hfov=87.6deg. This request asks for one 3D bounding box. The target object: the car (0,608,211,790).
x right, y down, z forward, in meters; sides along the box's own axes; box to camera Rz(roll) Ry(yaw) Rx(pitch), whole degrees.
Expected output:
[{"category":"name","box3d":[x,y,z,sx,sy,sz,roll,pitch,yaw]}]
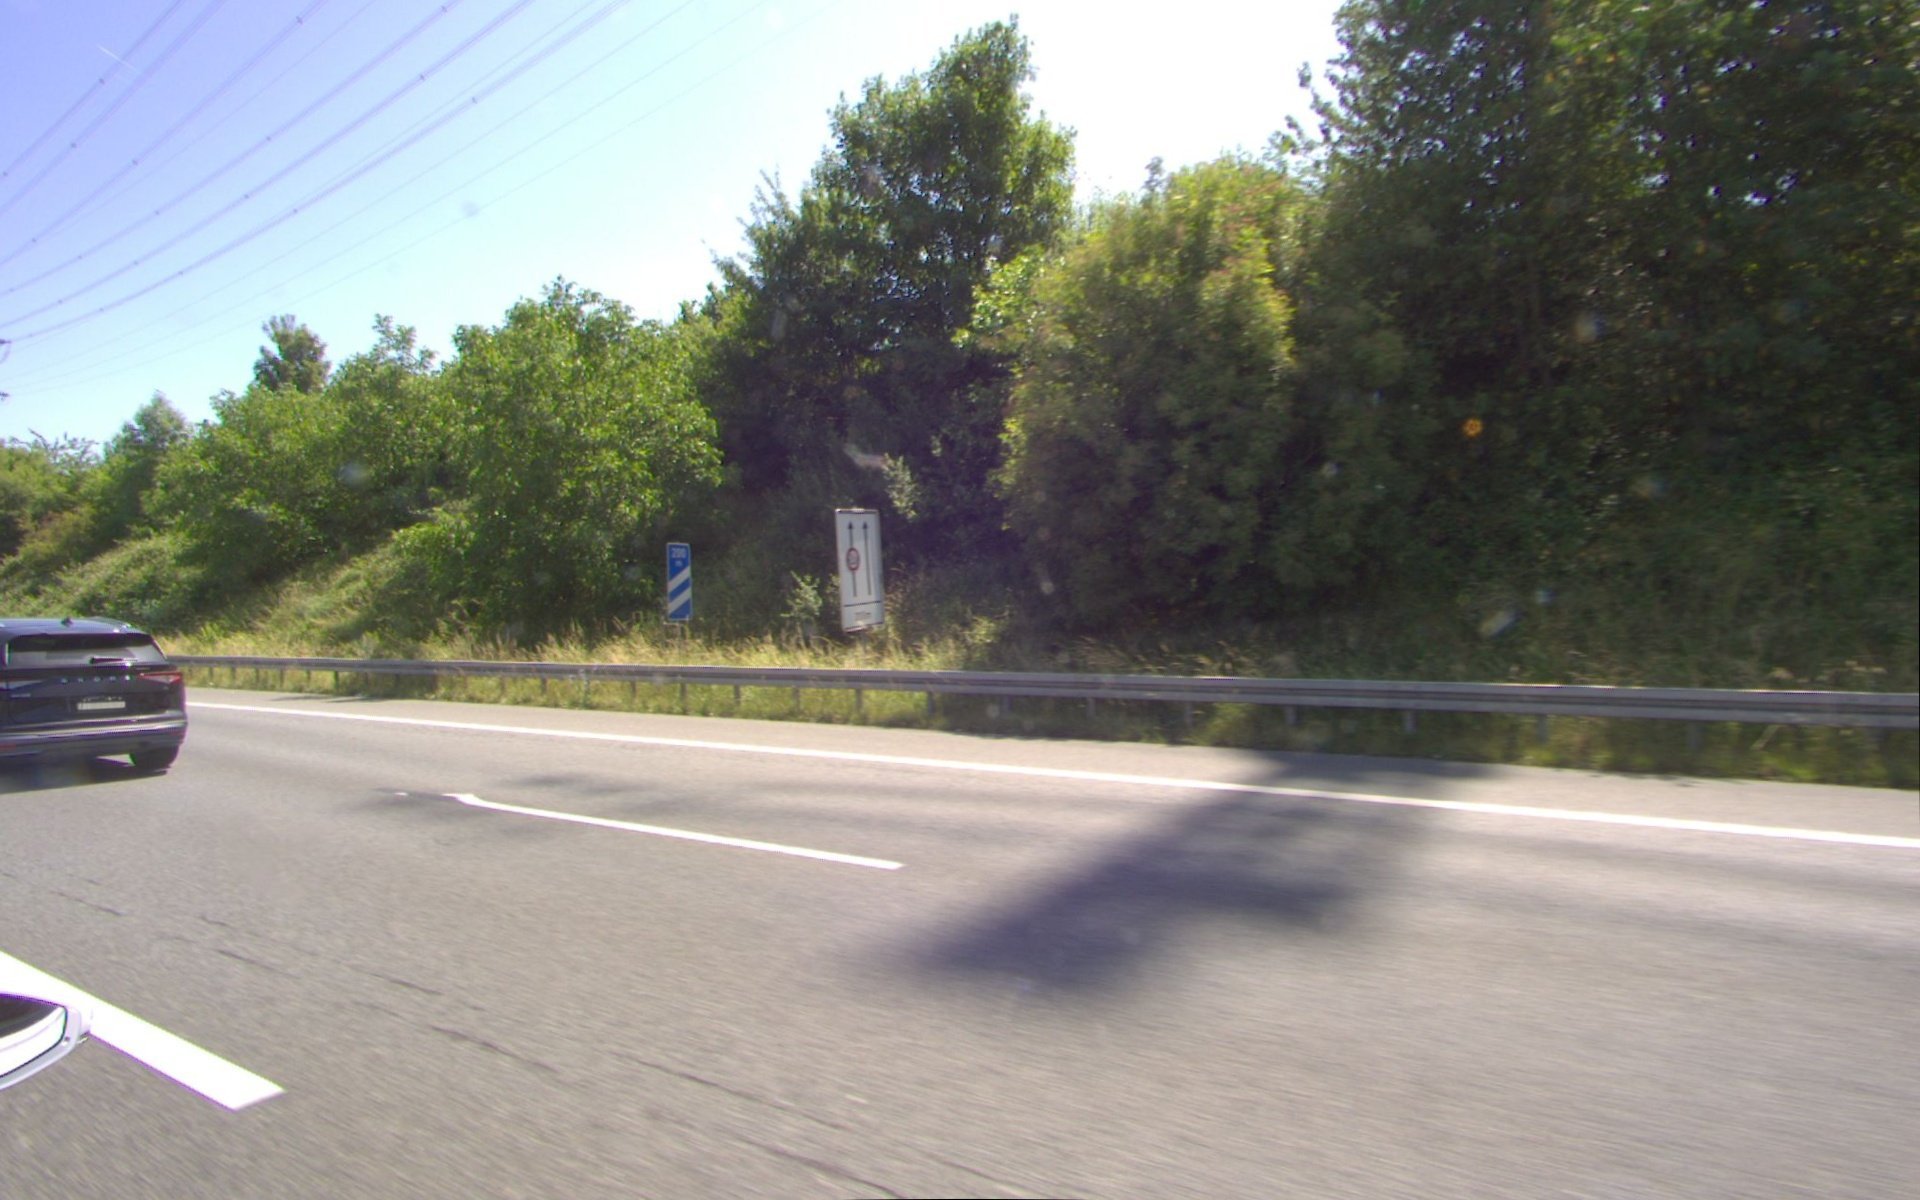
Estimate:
[{"category":"car","box3d":[-10.108,0.940,10.774,4.366,1.635,1.825,-1,-1,32]}]
